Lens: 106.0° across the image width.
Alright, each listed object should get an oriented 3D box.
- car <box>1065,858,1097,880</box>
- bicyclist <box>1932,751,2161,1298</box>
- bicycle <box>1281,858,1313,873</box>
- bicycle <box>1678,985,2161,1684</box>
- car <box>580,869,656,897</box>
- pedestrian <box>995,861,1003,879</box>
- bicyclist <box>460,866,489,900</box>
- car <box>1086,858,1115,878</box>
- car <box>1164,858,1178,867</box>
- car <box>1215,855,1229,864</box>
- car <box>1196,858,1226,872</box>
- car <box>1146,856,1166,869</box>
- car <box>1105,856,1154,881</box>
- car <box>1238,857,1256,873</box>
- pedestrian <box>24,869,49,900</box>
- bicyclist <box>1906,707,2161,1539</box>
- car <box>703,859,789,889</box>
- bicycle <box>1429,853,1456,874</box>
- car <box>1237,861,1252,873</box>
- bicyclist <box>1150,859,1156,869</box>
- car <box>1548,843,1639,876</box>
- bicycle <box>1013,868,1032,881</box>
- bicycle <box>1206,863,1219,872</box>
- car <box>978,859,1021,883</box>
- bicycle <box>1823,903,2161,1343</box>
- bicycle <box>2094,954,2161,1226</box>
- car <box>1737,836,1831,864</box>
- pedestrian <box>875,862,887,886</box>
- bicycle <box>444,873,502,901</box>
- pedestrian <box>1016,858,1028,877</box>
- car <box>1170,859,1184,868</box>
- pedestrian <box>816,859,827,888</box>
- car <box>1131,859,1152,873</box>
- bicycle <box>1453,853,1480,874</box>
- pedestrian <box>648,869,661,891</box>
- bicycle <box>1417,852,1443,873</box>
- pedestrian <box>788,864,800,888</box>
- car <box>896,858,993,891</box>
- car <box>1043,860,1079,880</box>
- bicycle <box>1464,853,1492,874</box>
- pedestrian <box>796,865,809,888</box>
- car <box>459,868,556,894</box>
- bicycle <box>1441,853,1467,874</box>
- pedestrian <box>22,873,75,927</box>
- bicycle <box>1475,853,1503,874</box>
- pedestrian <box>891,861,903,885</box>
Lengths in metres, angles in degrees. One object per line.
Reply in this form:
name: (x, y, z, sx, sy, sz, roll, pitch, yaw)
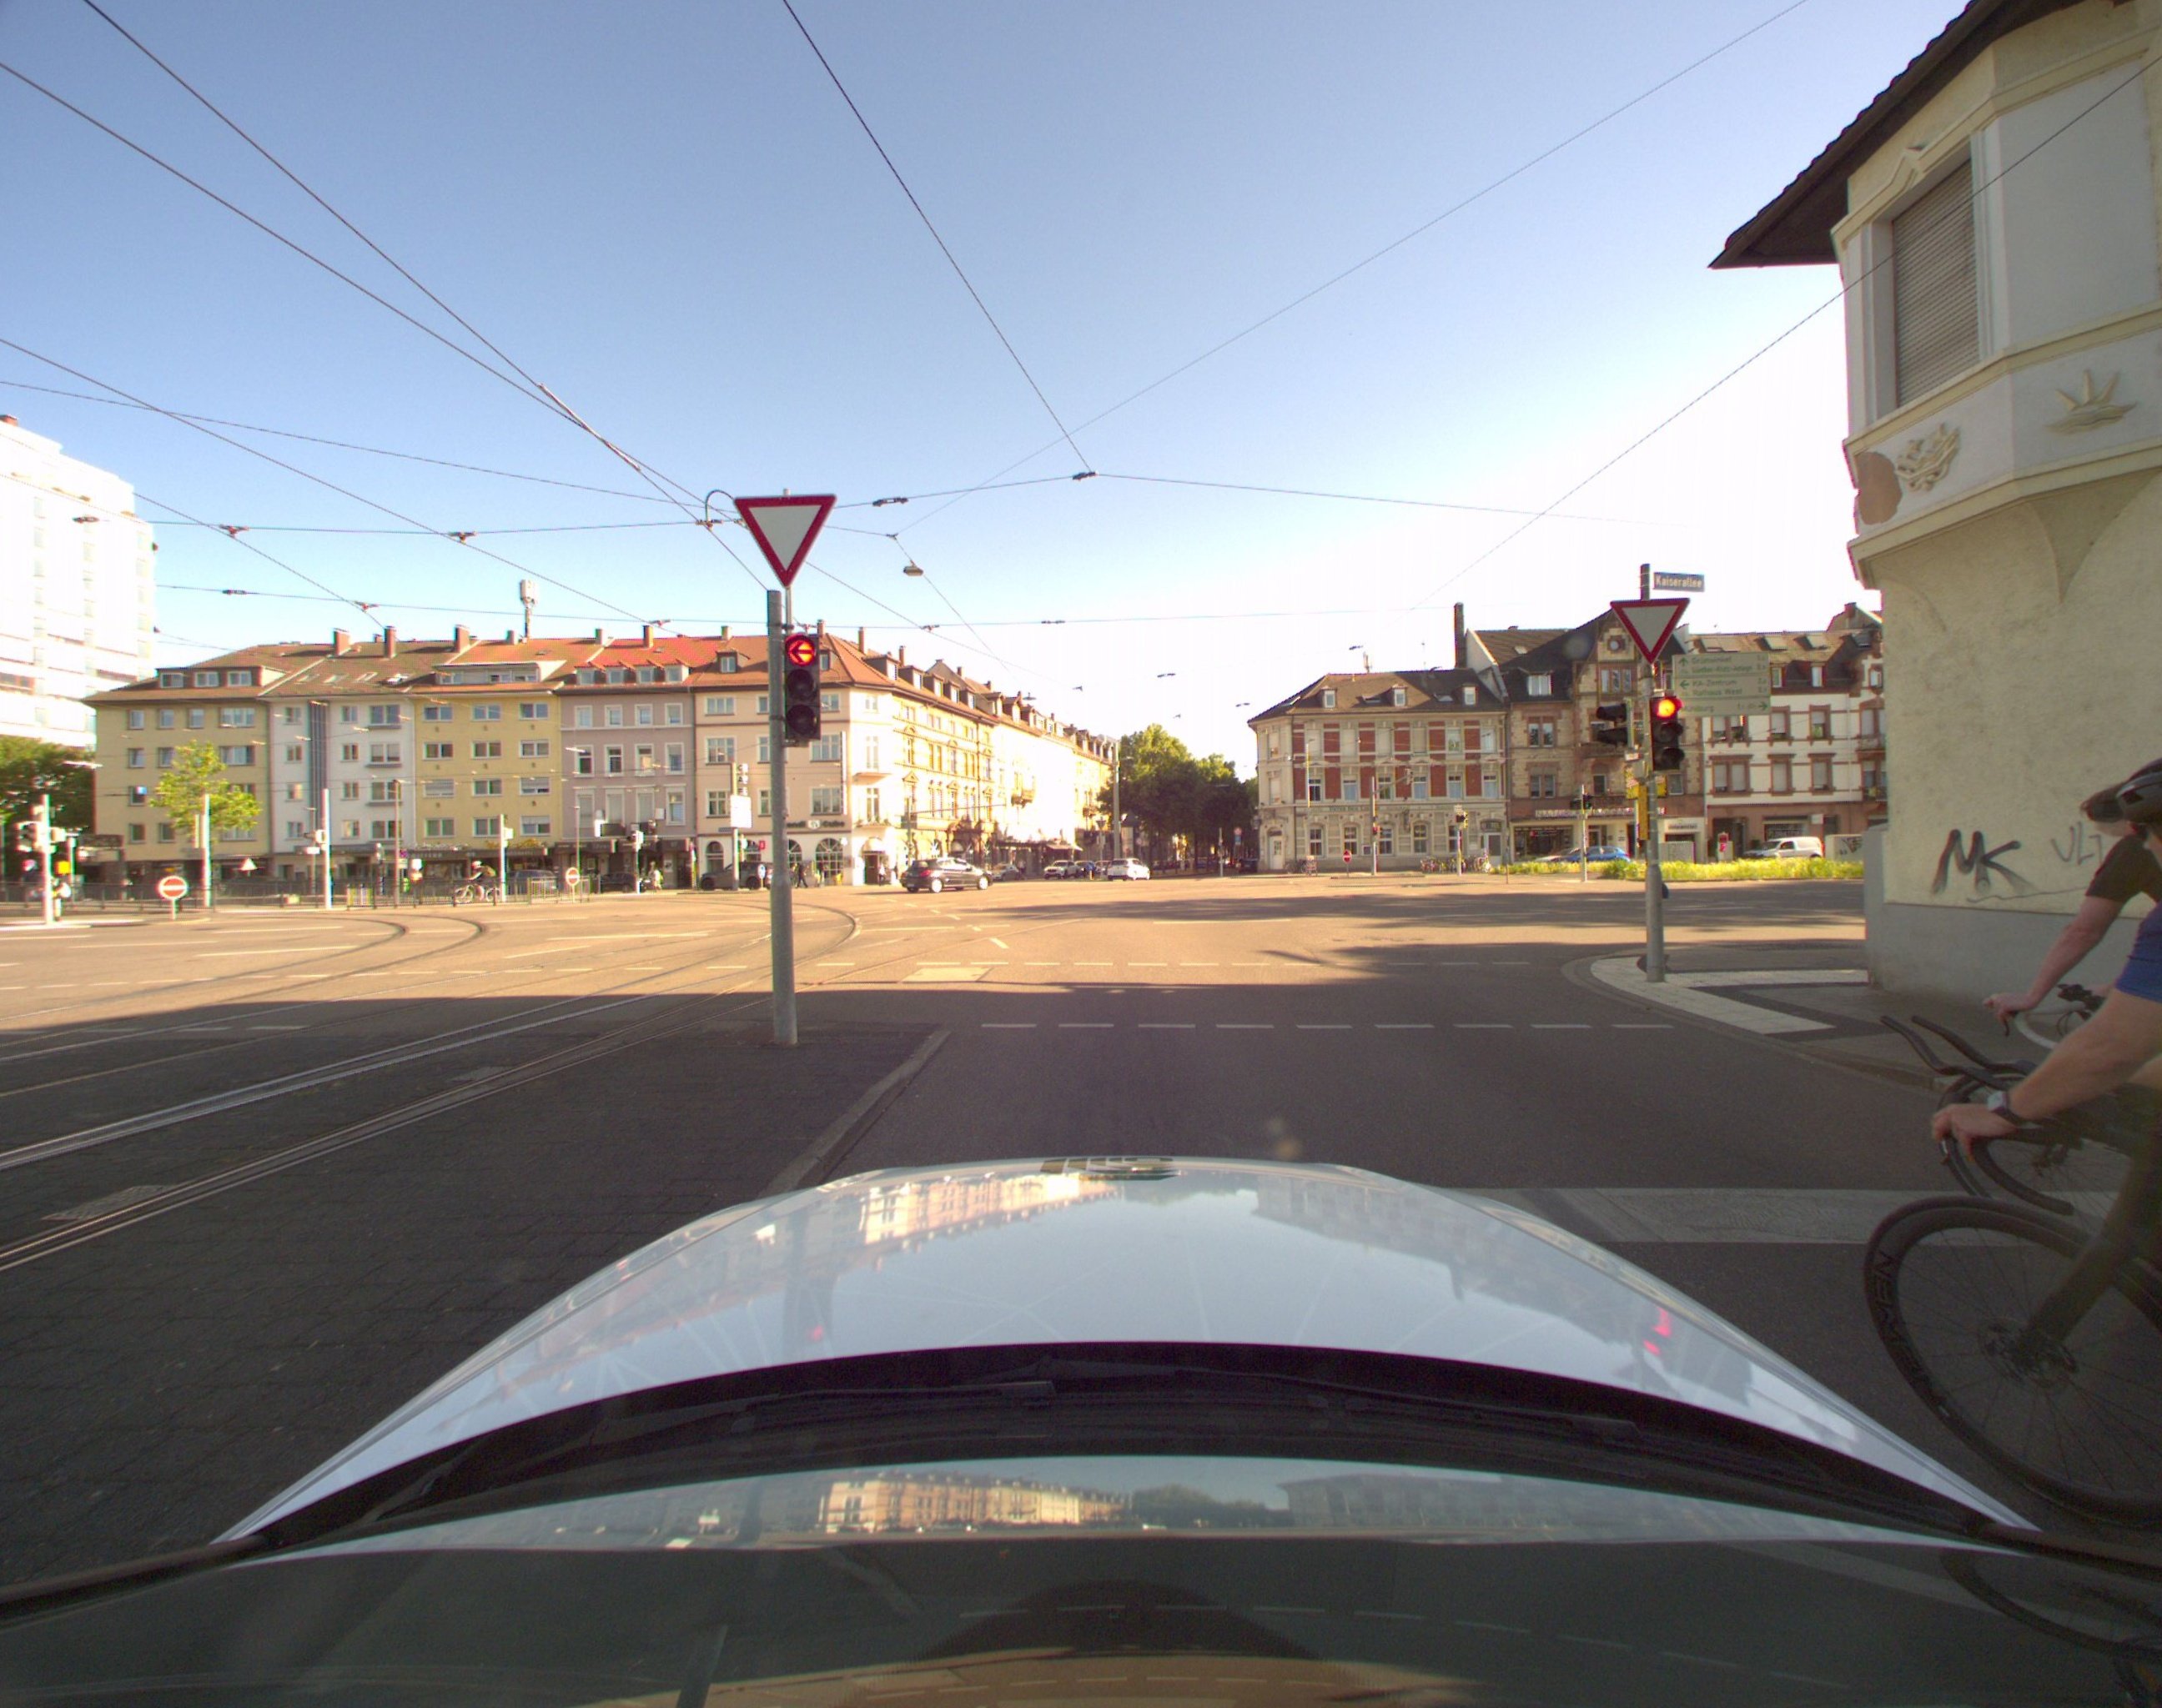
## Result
car: (-0.002, 1.362, 73.811, 1.979, 1.904, 4.015, -1, -1, 14)
bicyclist: (3.574, 0.501, 2.586, 0.803, 1.606, 0.883, 0, -1, 0)
bicycle: (15.086, 0.801, 56.894, 2.040, 0.998, 0.631, 0, -1, 4)
bicycle: (2.226, 0.946, 1.657, 0.625, 1.085, 1.698, 0, -1, -8)
car: (-30.585, 1.912, 53.820, 3.962, 1.670, 2.006, -2, 0, 10)
pedestrian: (-7.357, 1.409, 73.066, 0.539, 1.631, 0.709, -1, -1, 15)
bicyclist: (-24.592, 1.163, 33.020, 0.553, 1.366, 0.808, -1, -1, 33)
car: (1.961, 1.397, 79.948, 1.979, 1.904, 4.015, -1, -1, 14)
car: (14.568, 1.397, 131.507, 1.546, 1.513, 3.673, -1, -1, 19)
car: (23.236, 0.906, 134.195, 1.546, 1.513, 3.673, -1, -1, 19)
car: (18.343, 1.554, 114.728, 3.955, 1.904, 2.009, -1, -1, 17)
car: (11.279, 1.274, 122.531, 1.977, 1.904, 4.019, -1, -1, 19)
car: (3.157, 0.913, 52.564, 1.755, 1.530, 4.023, -1, -1, 25)
car: (16.822, 1.133, 82.366, 1.680, 1.565, 3.855, -1, -1, 14)
pedestrian: (-54.302, 1.578, 42.324, 0.523, 1.628, 0.577, 0, -1, 0)
bicyclist: (2.255, 0.481, 1.463, 0.638, 1.494, 0.881, -1, 1, -8)
car: (-18.565, 1.076, 45.194, 4.131, 1.618, 1.963, -1, -1, 18)
bicycle: (23.265, 0.616, 52.426, 0.689, 1.287, 2.663, 0, -1, 3)
car: (21.122, 1.649, 105.188, 1.680, 1.565, 3.855, -1, -1, 14)
bicyclist: (9.970, 1.381, 112.474, 0.621, 1.266, 0.561, -1, -1, 18)
car: (28.347, 0.289, 45.142, 3.769, 1.778, 2.000, 0, -1, 1)
bicycle: (-4.728, 1.629, 65.561, 0.756, 1.008, 2.406, -1, -1, 16)
bicycle: (15.998, 1.641, 98.868, 0.630, 1.085, 1.687, 0, -1, -28)
car: (-6.721, 1.361, 67.443, 1.977, 1.904, 4.019, -1, -1, 19)
bicycle: (3.560, 0.823, 2.639, 0.752, 1.236, 1.702, 0, -1, 0)
bicycle: (4.491, 0.923, 2.480, 0.647, 1.031, 1.772, 0, -1, 3)
car: (45.315, -0.236, 52.573, 4.349, 1.778, 2.000, 0, -1, 1)
pedestrian: (-13.581, 1.341, 55.302, 0.631, 1.634, 0.700, 0, -1, -2)
bicycle: (-24.603, 1.340, 32.987, 0.567, 1.070, 1.806, -1, -1, 32)
pedestrian: (-4.756, 1.099, 65.493, 0.814, 1.512, 0.601, -1, -1, 16)
car: (16.059, 1.522, 136.113, 1.546, 1.513, 3.673, -1, -1, 19)
pedestrian: (-16.989, 1.269, 53.323, 0.631, 1.881, 0.465, 0, -1, -2)
car: (8.402, 1.612, 112.697, 1.977, 1.904, 4.019, -1, -1, 19)
bicycle: (24.779, 0.610, 52.391, 0.626, 1.287, 2.663, 0, -1, 3)
pedestrian: (-29.238, 1.762, 55.881, 0.631, 1.477, 0.465, 0, -1, -2)
bicycle: (22.451, 0.559, 52.429, 0.689, 1.287, 2.663, 0, -1, 3)
pedestrian: (-18.753, 1.439, 53.290, 0.631, 1.612, 0.465, 0, -1, -2)
car: (-5.866, 0.849, 35.352, 3.878, 1.362, 1.738, 0, -1, -45)
car: (-1.644, 1.290, 67.426, 1.979, 1.618, 4.015, -1, -1, 14)
bicycle: (25.506, 0.596, 52.387, 0.626, 1.287, 2.663, 0, -1, 3)
pedestrian: (-18.039, 1.476, 52.750, 0.631, 1.477, 0.465, 0, -1, -2)
car: (-32.173, 1.491, 45.782, 3.979, 1.376, 1.997, 0, -1, -4)
bicycle: (23.988, 0.607, 52.419, 0.626, 1.287, 2.663, 0, -1, 3)
pedestrian: (-31.547, 1.391, 24.893, 0.697, 1.634, 0.681, 0, -1, -3)
bicycle: (26.201, 0.599, 52.359, 0.626, 1.287, 2.663, 0, -1, 3)
pedestrian: (-12.903, 1.315, 57.141, 0.631, 1.634, 0.700, 0, -1, -2)
